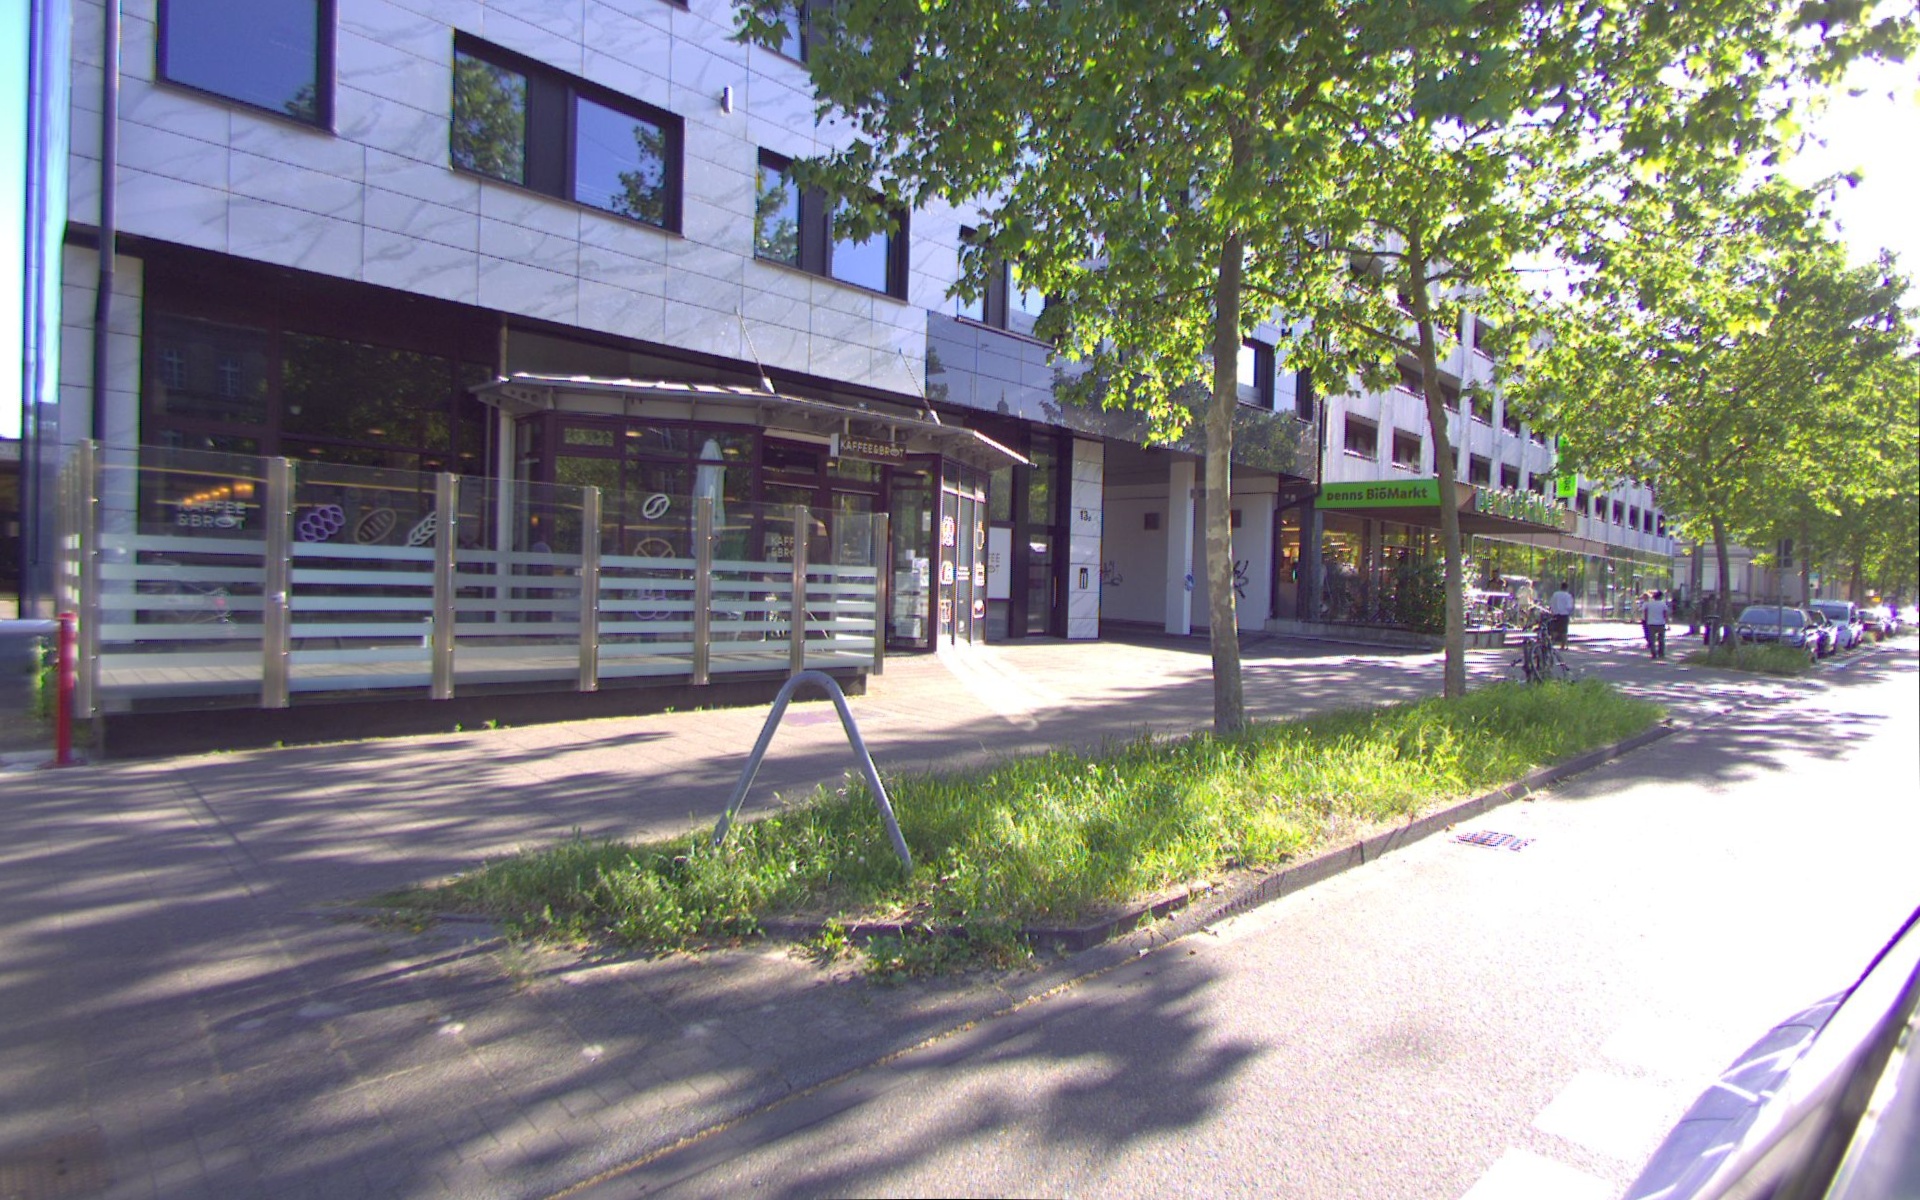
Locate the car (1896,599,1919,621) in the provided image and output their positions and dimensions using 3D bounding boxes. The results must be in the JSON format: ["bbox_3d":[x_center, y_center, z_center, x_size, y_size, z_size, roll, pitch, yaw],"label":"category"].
[{"bbox_3d":[73.119,0.752,77.543,4.203,1.584,1.835,0,1,-45],"label":"car"}]

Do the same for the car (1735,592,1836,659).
[{"bbox_3d":[21.607,0.611,26.444,3.934,1.570,1.566,0,1,-44],"label":"car"}]

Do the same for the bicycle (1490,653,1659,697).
[{"bbox_3d":[8.037,0.959,13.253,1.366,0.357,1.610,0,2,-44],"label":"bicycle"}]

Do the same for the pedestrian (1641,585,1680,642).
[{"bbox_3d":[20.896,0.399,30.190,0.853,1.632,0.699,1,3,-42],"label":"pedestrian"}]

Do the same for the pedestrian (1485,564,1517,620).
[{"bbox_3d":[16.854,-0.257,31.535,0.868,1.698,0.558,0,3,-45],"label":"pedestrian"}]

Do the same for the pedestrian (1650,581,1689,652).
[{"bbox_3d":[17.741,0.399,25.310,1.035,1.725,0.560,1,2,-45],"label":"pedestrian"}]

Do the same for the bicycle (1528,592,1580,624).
[{"bbox_3d":[22.844,0.295,38.933,0.573,1.068,1.710,3,3,-17],"label":"bicycle"}]

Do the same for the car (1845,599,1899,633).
[{"bbox_3d":[43.924,0.735,48.723,1.674,1.455,3.631,5,4,44],"label":"car"}]

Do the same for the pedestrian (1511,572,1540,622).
[{"bbox_3d":[20.326,-0.116,36.393,0.607,1.735,0.609,8,4,21],"label":"pedestrian"}]

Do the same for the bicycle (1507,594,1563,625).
[{"bbox_3d":[20.003,0.324,35.232,0.573,0.927,1.656,5,2,-17],"label":"bicycle"}]

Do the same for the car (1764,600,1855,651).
[{"bbox_3d":[26.171,0.732,31.134,1.762,1.436,4.624,1,1,45],"label":"car"}]

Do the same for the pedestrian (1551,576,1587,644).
[{"bbox_3d":[16.140,0.259,26.807,0.864,1.766,0.560,1,2,-45],"label":"pedestrian"}]

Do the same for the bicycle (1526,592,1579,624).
[{"bbox_3d":[22.286,0.306,38.122,0.573,1.068,1.709,3,2,-17],"label":"bicycle"}]

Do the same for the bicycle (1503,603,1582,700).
[{"bbox_3d":[7.709,0.632,13.351,0.785,1.147,1.824,2,1,33],"label":"bicycle"}]

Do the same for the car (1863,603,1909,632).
[{"bbox_3d":[51.190,0.938,55.944,3.866,1.459,1.627,0,3,-45],"label":"car"}]

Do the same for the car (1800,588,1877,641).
[{"bbox_3d":[33.071,0.530,38.060,4.320,1.814,1.766,1,2,-44],"label":"car"}]
